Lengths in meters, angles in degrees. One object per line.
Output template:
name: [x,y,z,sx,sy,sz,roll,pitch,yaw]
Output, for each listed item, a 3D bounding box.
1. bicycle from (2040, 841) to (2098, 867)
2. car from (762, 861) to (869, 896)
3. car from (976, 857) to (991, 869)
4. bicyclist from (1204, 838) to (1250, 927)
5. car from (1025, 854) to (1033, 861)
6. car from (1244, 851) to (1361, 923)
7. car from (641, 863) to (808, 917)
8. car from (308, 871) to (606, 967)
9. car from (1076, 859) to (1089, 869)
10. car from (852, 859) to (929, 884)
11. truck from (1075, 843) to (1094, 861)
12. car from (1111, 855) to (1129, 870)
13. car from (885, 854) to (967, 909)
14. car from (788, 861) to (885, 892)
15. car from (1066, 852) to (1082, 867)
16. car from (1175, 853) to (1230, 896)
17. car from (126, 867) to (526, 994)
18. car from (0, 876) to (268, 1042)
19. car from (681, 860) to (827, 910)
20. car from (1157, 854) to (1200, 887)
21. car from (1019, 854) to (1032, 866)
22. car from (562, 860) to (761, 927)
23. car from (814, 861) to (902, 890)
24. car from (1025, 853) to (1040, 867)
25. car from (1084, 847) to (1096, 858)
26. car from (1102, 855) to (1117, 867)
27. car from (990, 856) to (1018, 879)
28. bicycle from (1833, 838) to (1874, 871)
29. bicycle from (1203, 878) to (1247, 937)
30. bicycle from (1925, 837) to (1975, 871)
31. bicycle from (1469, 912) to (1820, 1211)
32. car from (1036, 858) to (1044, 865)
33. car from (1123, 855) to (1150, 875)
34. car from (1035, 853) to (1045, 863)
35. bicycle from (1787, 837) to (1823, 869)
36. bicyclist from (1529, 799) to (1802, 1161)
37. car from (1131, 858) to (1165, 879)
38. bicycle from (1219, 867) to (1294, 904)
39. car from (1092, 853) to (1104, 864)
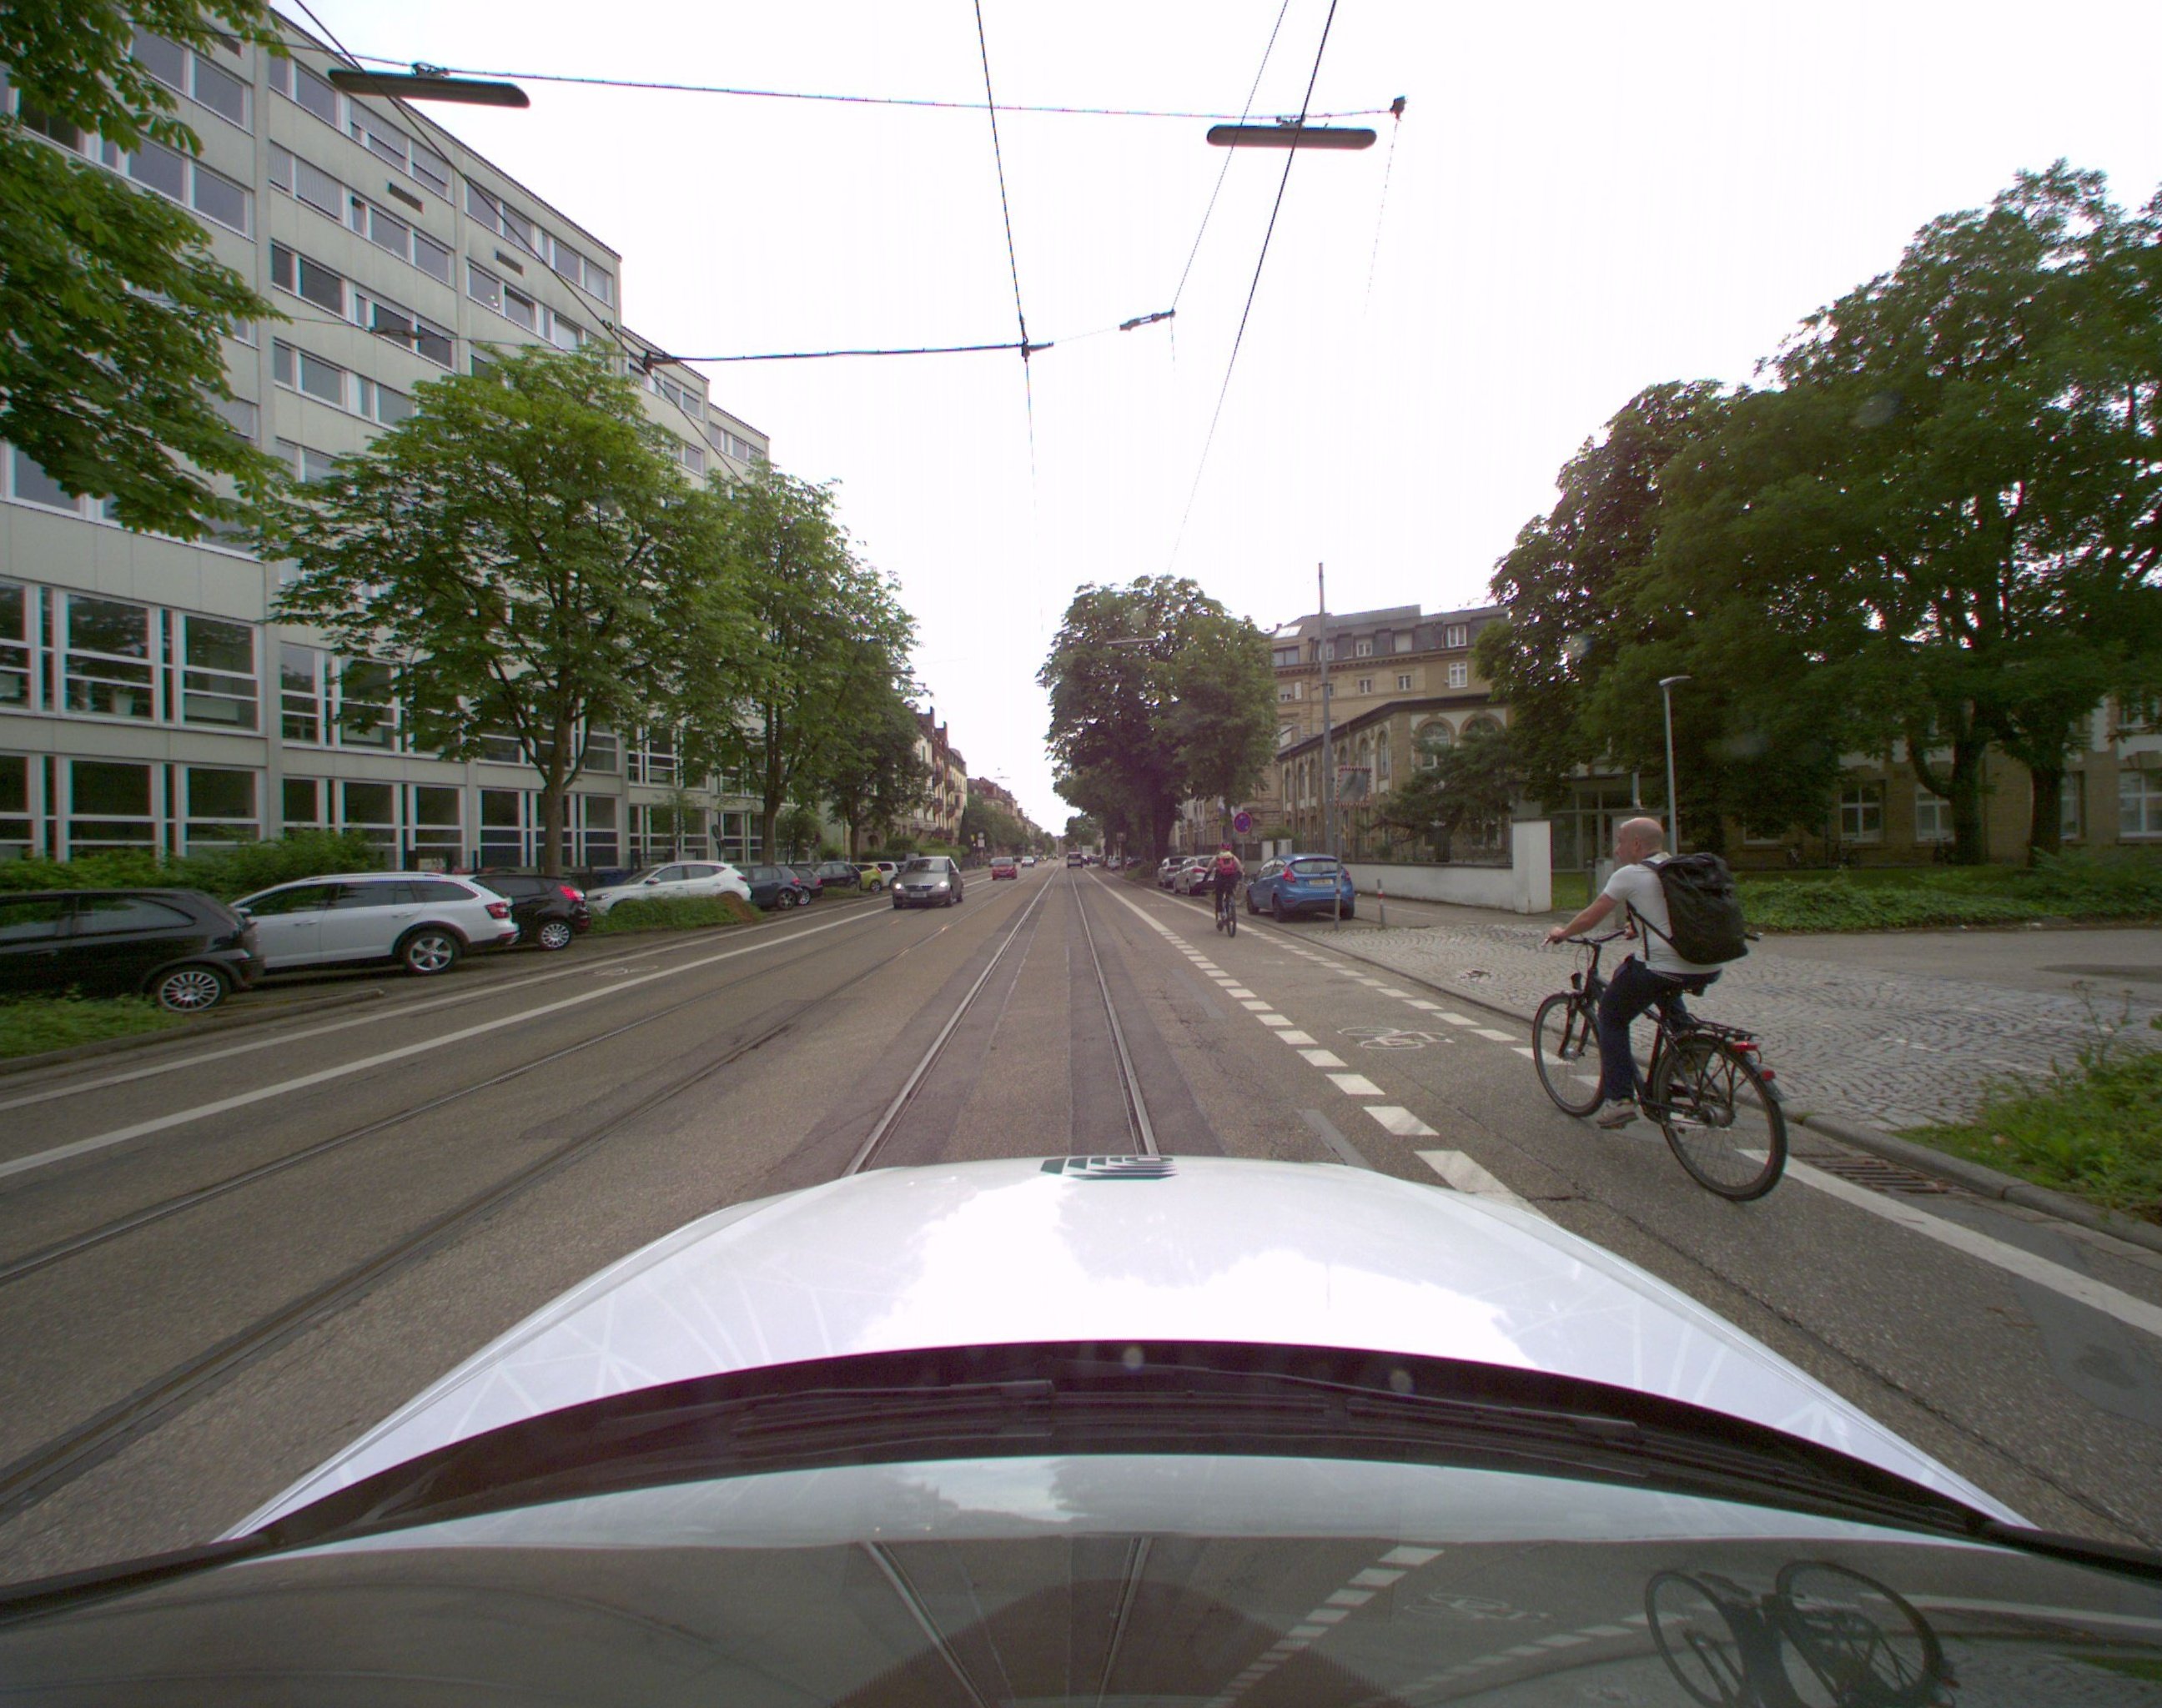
bicycle: [32.409,-0.023,26.750,0.611,0.813,1.957,-2,0,32]
car: [-11.215,0.983,34.564,1.678,1.351,3.992,0,0,43]
car: [-18.290,1.618,153.348,2.170,2.207,4.218,-2,0,0]
bicyclist: [2.726,0.521,15.263,0.655,1.610,0.920,-1,0,0]
car: [-15.162,0.928,237.549,1.813,2.067,3.882,-2,0,3]
car: [4.977,0.688,18.720,1.669,1.460,3.430,-1,0,-2]
car: [-10.775,1.036,24.837,1.678,1.454,4.372,0,0,43]
car: [-10.988,1.055,14.613,4.048,1.405,1.680,0,0,-39]
car: [0.256,1.527,125.482,1.763,1.399,3.796,-2,0,1]
car: [-10.755,0.969,46.089,1.678,1.351,3.992,0,0,43]
truck: [0.861,-0.401,196.293,3.801,4.029,10.203,-2,0,-4]
car: [3.778,0.806,79.330,1.661,1.399,3.662,-2,0,1]
car: [-4.862,0.810,26.002,1.895,1.530,3.752,-3,0,-1]
car: [-11.318,1.015,37.860,1.678,1.351,3.992,0,0,43]
car: [-0.798,0.608,96.218,1.805,1.708,3.700,-1,-1,1]
car: [4.521,0.721,30.663,1.471,1.481,3.563,-1,0,-1]
car: [-10.627,0.968,11.888,4.048,1.484,1.680,0,0,-39]
car: [-10.935,1.034,8.309,1.679,1.524,3.727,0,0,44]
car: [-11.152,1.006,28.015,1.678,1.535,4.372,0,0,43]
car: [4.483,0.760,37.785,1.471,1.429,3.563,-1,-1,-1]
car: [-7.348,0.759,107.951,1.737,1.429,3.994,-2,0,-4]
car: [-10.964,0.957,21.558,1.678,1.556,4.374,0,0,40]
car: [-11.147,1.042,40.906,1.678,1.351,3.992,0,0,43]
car: [-8.791,1.095,148.459,2.196,2.417,4.003,-2,0,3]
car: [1.682,-0.284,156.795,1.989,2.013,3.996,-2,0,-3]
car: [3.487,0.846,99.408,1.763,1.399,3.796,-2,0,1]
car: [-5.178,0.900,54.967,1.672,1.522,2.779,-1,-1,-2]
bicycle: [27.536,0.016,29.048,0.611,1.119,2.235,-2,0,32]
bicycle: [2.707,0.972,15.460,0.488,0.979,2.057,0,0,0]
bicycle: [29.871,-0.019,28.025,0.611,1.119,2.235,-2,0,32]
bicycle: [2.840,0.948,4.398,0.661,1.117,1.867,0,0,2]
car: [-11.067,2.063,219.660,1.765,1.643,3.569,-2,0,3]
car: [4.099,0.780,60.355,1.785,1.399,3.796,-2,0,1]
car: [-9.706,1.003,192.813,2.199,2.255,3.998,-2,0,-1]
bicycle: [26.410,-0.052,29.736,0.611,1.119,2.235,-2,0,32]
bicyclist: [2.811,0.549,4.034,0.659,1.569,0.986,-1,0,3]
car: [4.245,0.893,52.120,1.866,1.251,4.001,-2,0,1]
bicycle: [5.040,0.897,23.439,2.009,0.957,0.533,-2,0,-5]
car: [2.918,0.726,139.438,1.987,1.794,4.000,-2,0,0]
